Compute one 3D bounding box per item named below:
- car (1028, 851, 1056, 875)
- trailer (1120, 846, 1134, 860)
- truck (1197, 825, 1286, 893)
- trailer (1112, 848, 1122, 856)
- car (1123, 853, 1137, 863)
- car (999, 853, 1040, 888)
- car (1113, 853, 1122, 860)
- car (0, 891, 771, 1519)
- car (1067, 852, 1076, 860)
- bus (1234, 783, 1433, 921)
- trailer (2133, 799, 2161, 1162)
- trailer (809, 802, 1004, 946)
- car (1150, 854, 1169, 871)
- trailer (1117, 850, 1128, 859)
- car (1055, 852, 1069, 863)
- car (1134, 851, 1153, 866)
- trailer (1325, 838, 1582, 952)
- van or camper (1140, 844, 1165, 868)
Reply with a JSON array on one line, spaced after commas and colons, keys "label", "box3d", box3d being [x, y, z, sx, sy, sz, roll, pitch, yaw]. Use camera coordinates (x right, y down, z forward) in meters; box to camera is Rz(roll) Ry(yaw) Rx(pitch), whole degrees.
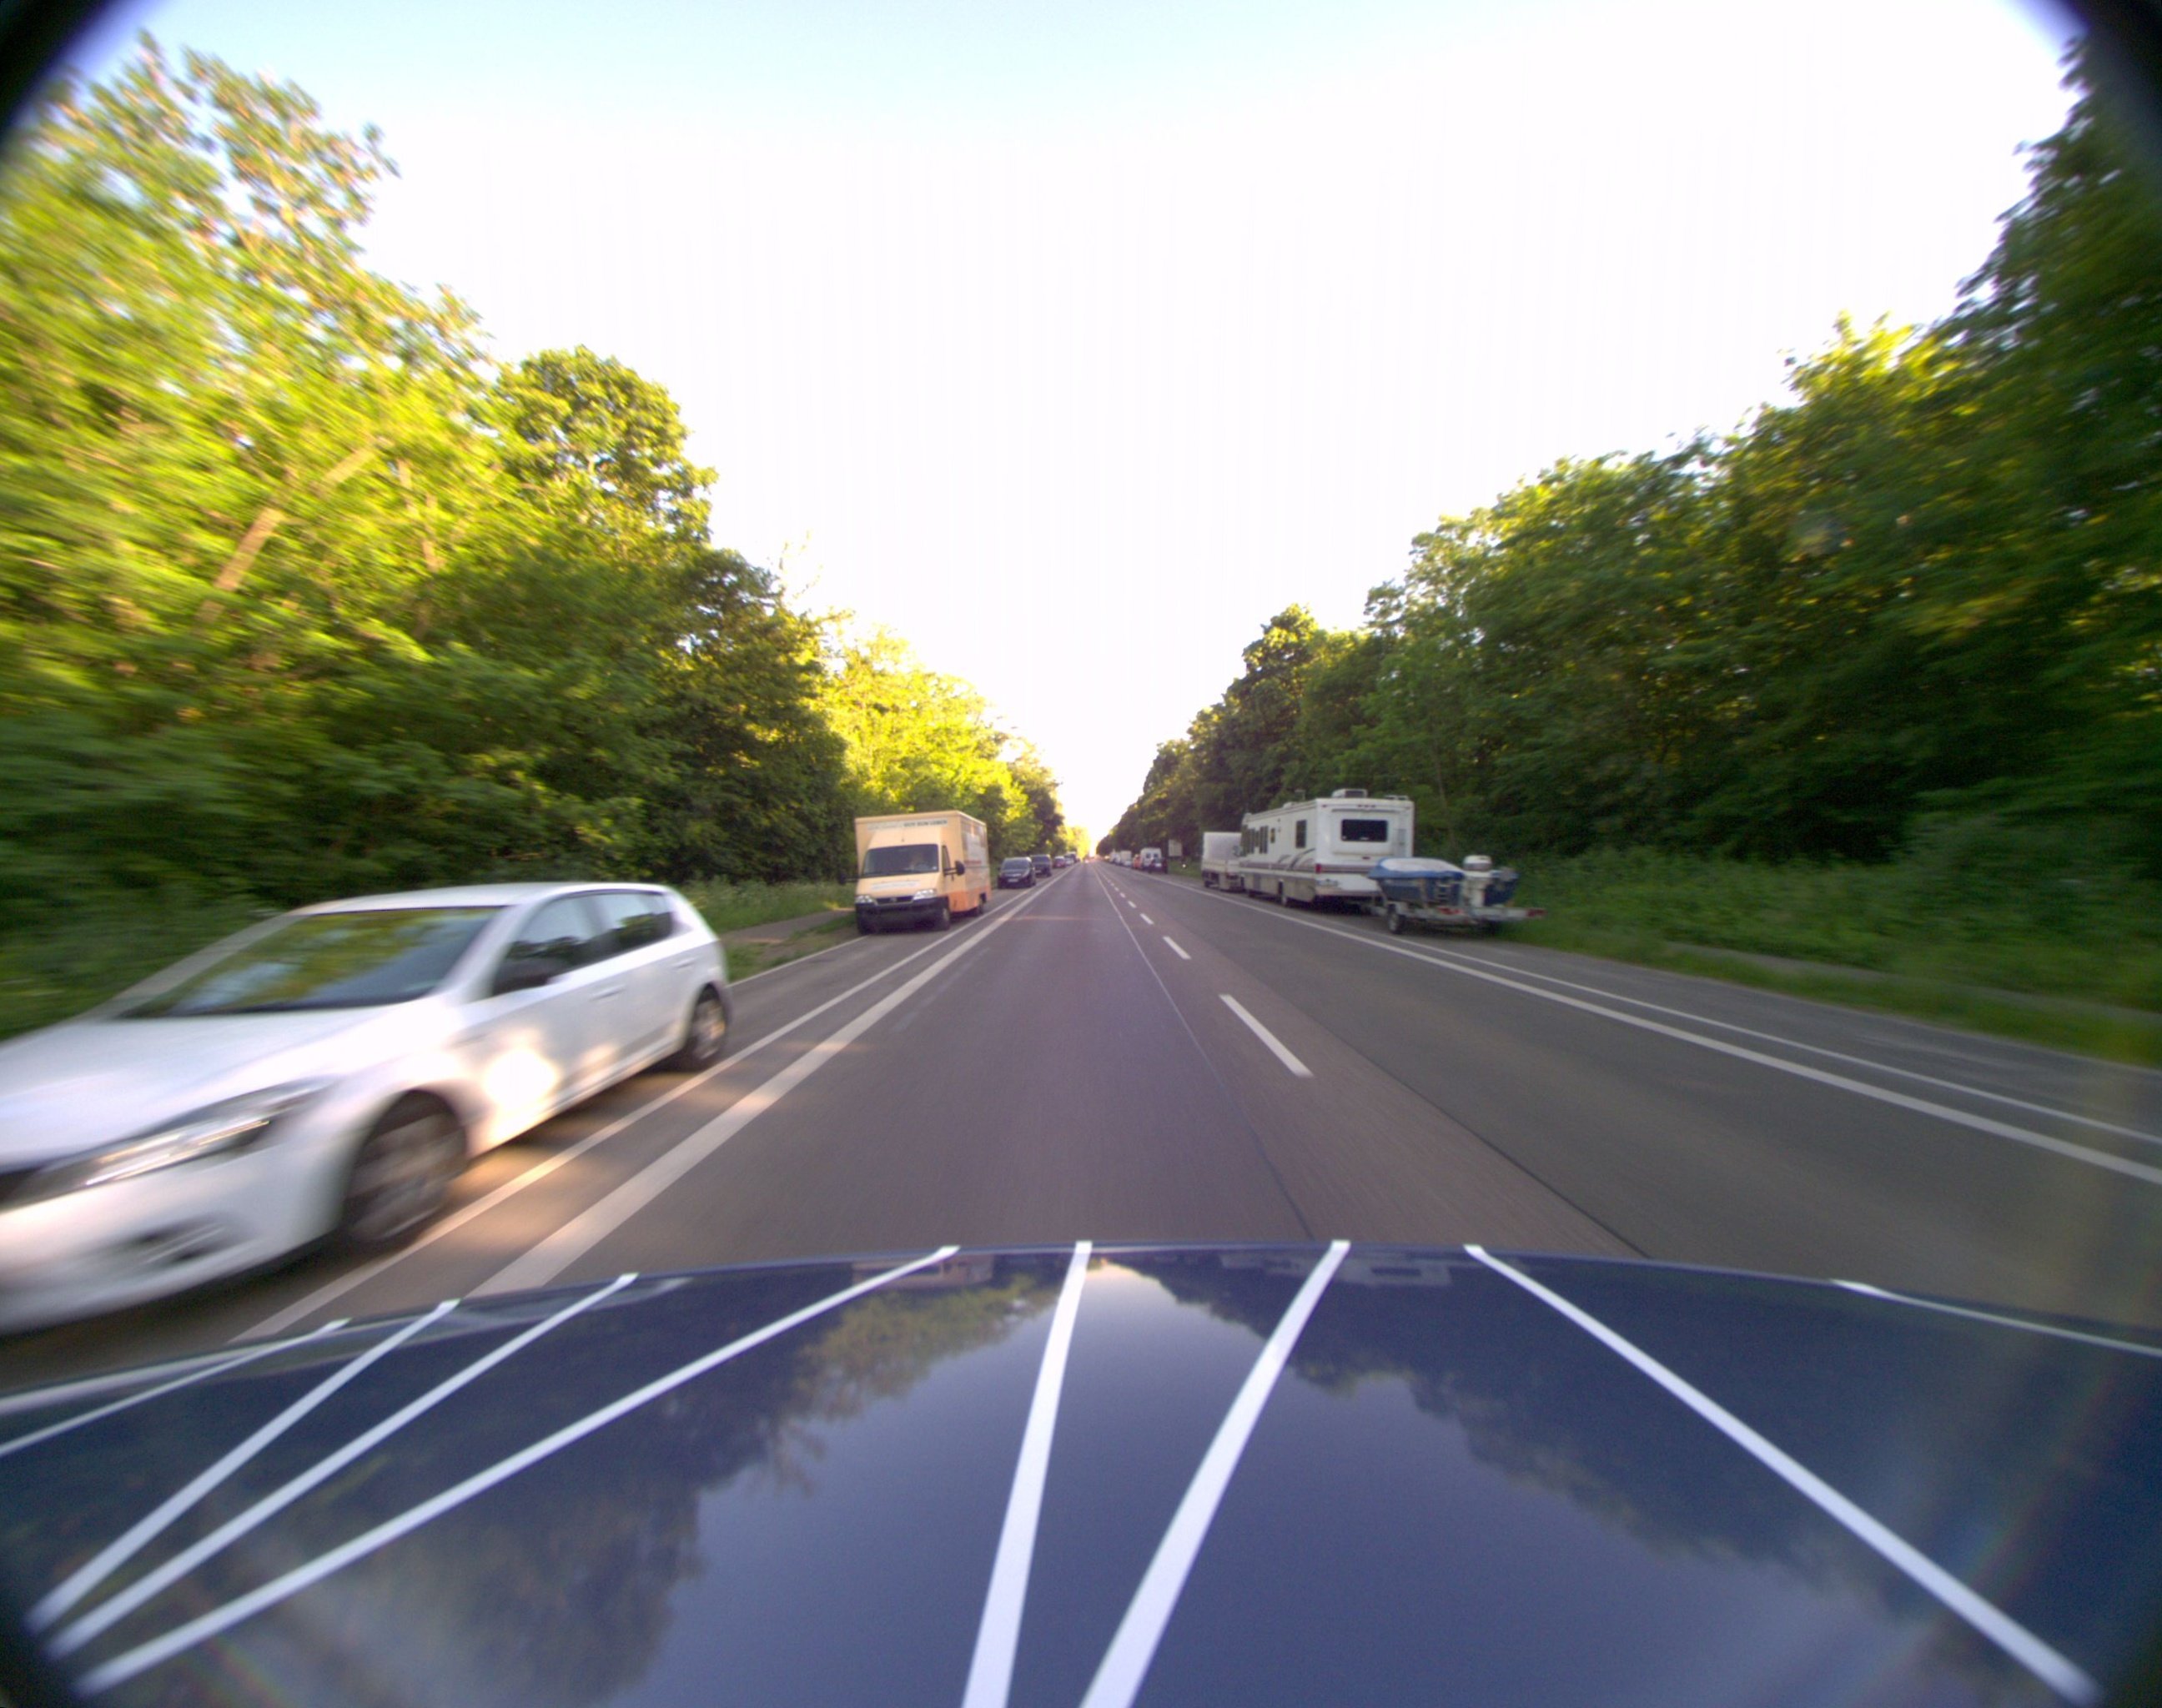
[{"label": "car", "box3d": [-3.289, 0.734, 65.028, 1.998, 1.888, 5.473, -1, 0, 1]}, {"label": "trailer", "box3d": [7.816, -0.167, 129.415, 1.998, 2.227, 3.999, -2, 1, 1]}, {"label": "truck", "box3d": [7.414, 0.201, 36.188, 2.489, 2.807, 8.424, -1, 0, 1]}, {"label": "trailer", "box3d": [8.811, -0.528, 184.606, 2.306, 1.972, 3.999, -2, 1, 1]}, {"label": "car", "box3d": [7.938, 0.647, 122.640, 1.998, 1.620, 4.144, -1, 0, 1]}, {"label": "car", "box3d": [-3.344, 0.858, 41.854, 1.804, 1.681, 4.601, -2, 1, 0]}, {"label": "car", "box3d": [8.567, 0.578, 177.436, 1.998, 1.620, 4.144, -1, 0, 1]}, {"label": "car", "box3d": [-3.692, 1.086, 4.338, 1.892, 1.459, 4.569, -1, 0, 0]}, {"label": "car", "box3d": [-1.904, 0.420, 157.356, 1.837, 1.608, 4.000, -1, 0, 1]}, {"label": "bus", "box3d": [7.551, -0.114, 24.916, 2.835, 3.411, 11.199, -2, 1, 1]}, {"label": "trailer", "box3d": [6.875, 0.731, 2.492, 1.857, 2.002, 3.561, 2, 0, 1]}, {"label": "trailer", "box3d": [-4.148, 0.364, 20.833, 2.928, 2.825, 9.881, -4, 1, 0]}, {"label": "car", "box3d": [7.433, 0.794, 72.434, 1.787, 1.485, 4.001, 0, 0, 5]}, {"label": "trailer", "box3d": [8.213, 0.112, 151.161, 1.998, 1.776, 3.999, -2, 1, 1]}, {"label": "car", "box3d": [-2.839, 0.486, 113.637, 1.837, 1.608, 4.000, -1, 0, 1]}, {"label": "car", "box3d": [7.789, 0.586, 95.459, 1.998, 1.797, 4.144, -1, 0, 1]}, {"label": "trailer", "box3d": [7.394, 0.703, 16.160, 2.434, 1.903, 6.263, -1, 0, 1]}, {"label": "van or camper", "box3d": [7.875, 0.233, 84.647, 2.253, 2.599, 5.984, -1, 0, 1]}]
